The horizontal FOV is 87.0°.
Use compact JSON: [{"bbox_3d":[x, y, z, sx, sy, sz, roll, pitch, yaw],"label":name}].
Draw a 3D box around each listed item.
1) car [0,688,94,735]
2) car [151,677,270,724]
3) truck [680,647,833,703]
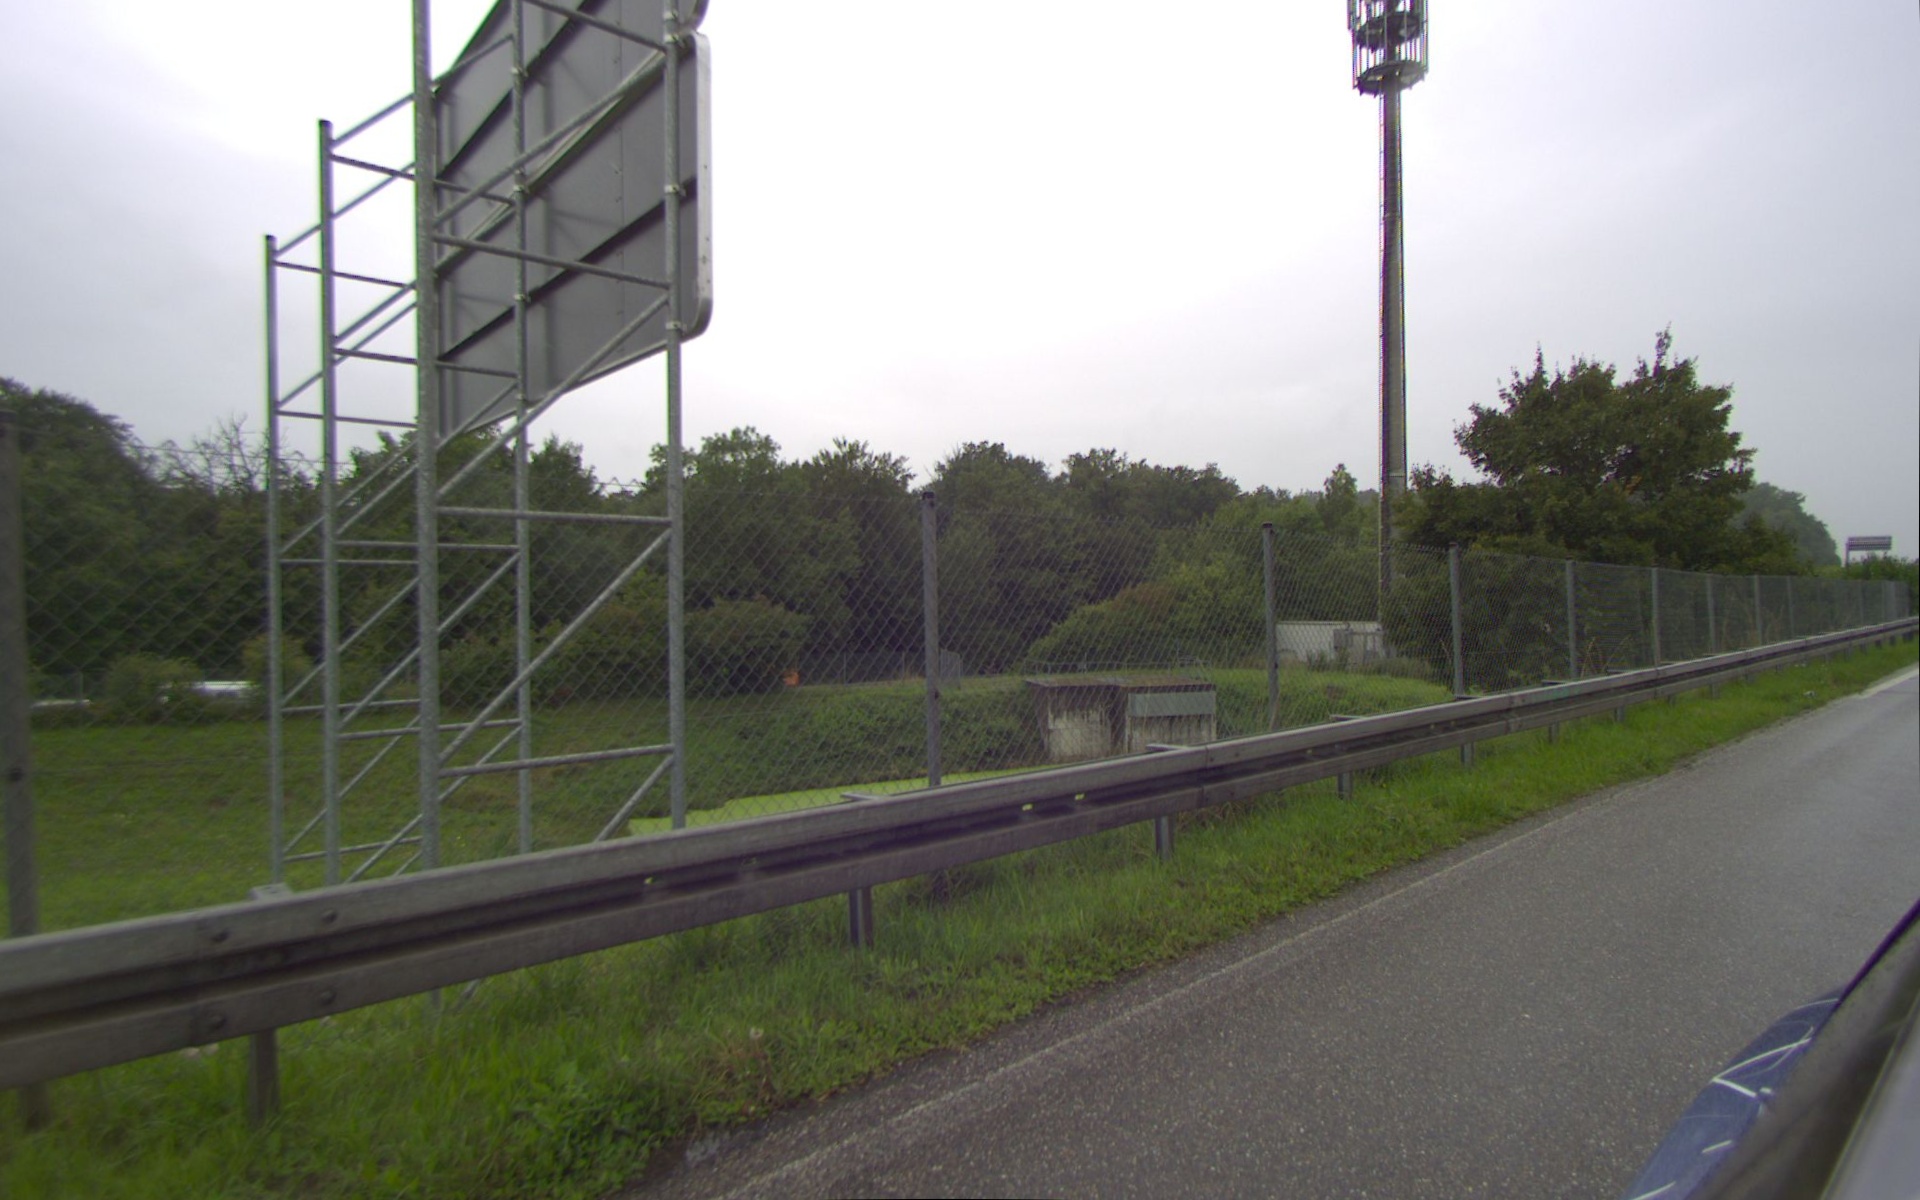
[{"bbox_3d":[-36.071,4.329,39.083,3.929,1.624,1.771,0,-5,-40],"label":"car"},{"bbox_3d":[-31.659,4.230,42.788,3.929,1.685,1.883,0,-5,-40],"label":"car"},{"bbox_3d":[-11.382,4.208,57.140,8.118,2.697,2.829,0,-5,-41],"label":"truck"}]
